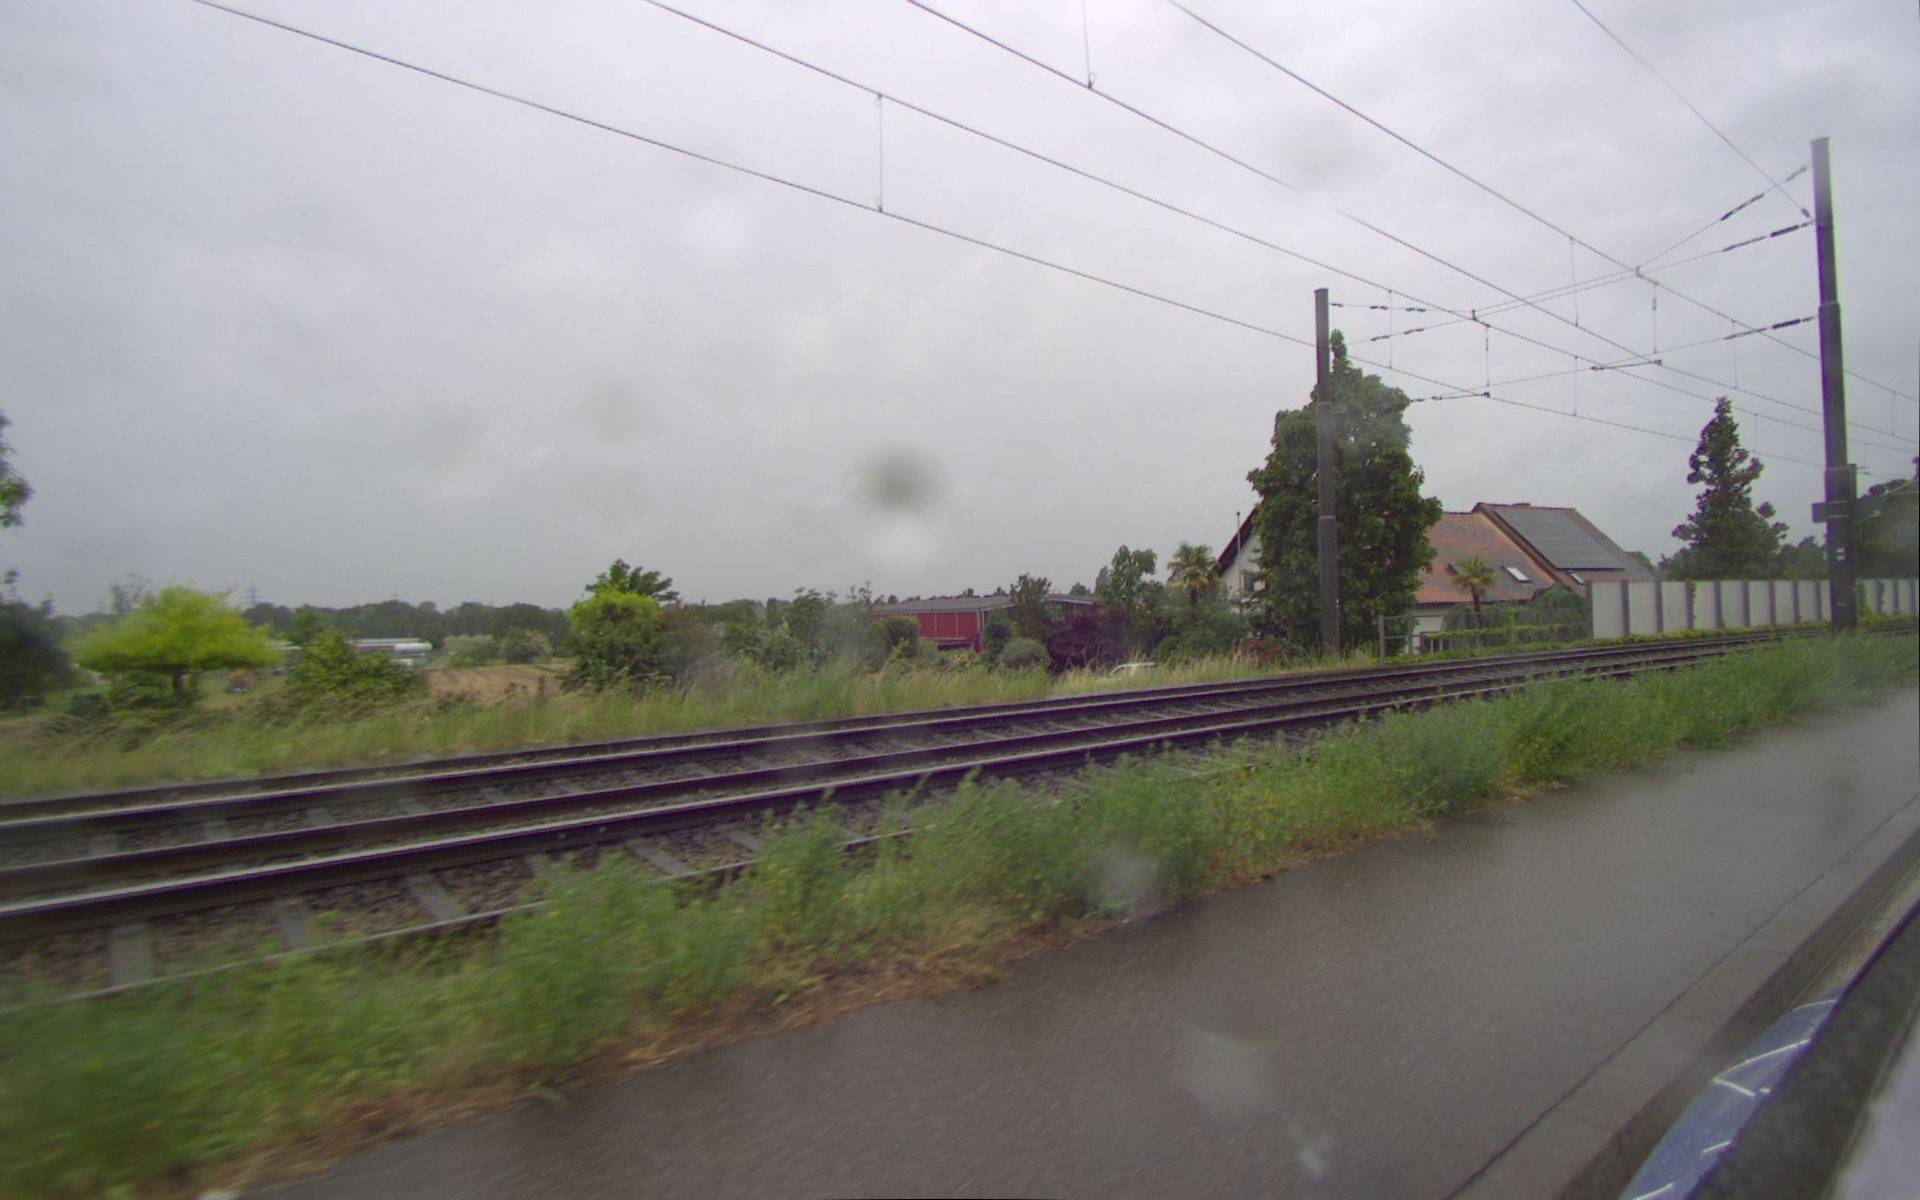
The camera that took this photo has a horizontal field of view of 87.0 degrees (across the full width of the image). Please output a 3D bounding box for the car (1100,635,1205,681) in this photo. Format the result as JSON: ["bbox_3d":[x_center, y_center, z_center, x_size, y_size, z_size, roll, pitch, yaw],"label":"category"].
[{"bbox_3d":[7.583,2.268,40.270,1.840,1.659,4.200,-2,-1,-28],"label":"car"}]
